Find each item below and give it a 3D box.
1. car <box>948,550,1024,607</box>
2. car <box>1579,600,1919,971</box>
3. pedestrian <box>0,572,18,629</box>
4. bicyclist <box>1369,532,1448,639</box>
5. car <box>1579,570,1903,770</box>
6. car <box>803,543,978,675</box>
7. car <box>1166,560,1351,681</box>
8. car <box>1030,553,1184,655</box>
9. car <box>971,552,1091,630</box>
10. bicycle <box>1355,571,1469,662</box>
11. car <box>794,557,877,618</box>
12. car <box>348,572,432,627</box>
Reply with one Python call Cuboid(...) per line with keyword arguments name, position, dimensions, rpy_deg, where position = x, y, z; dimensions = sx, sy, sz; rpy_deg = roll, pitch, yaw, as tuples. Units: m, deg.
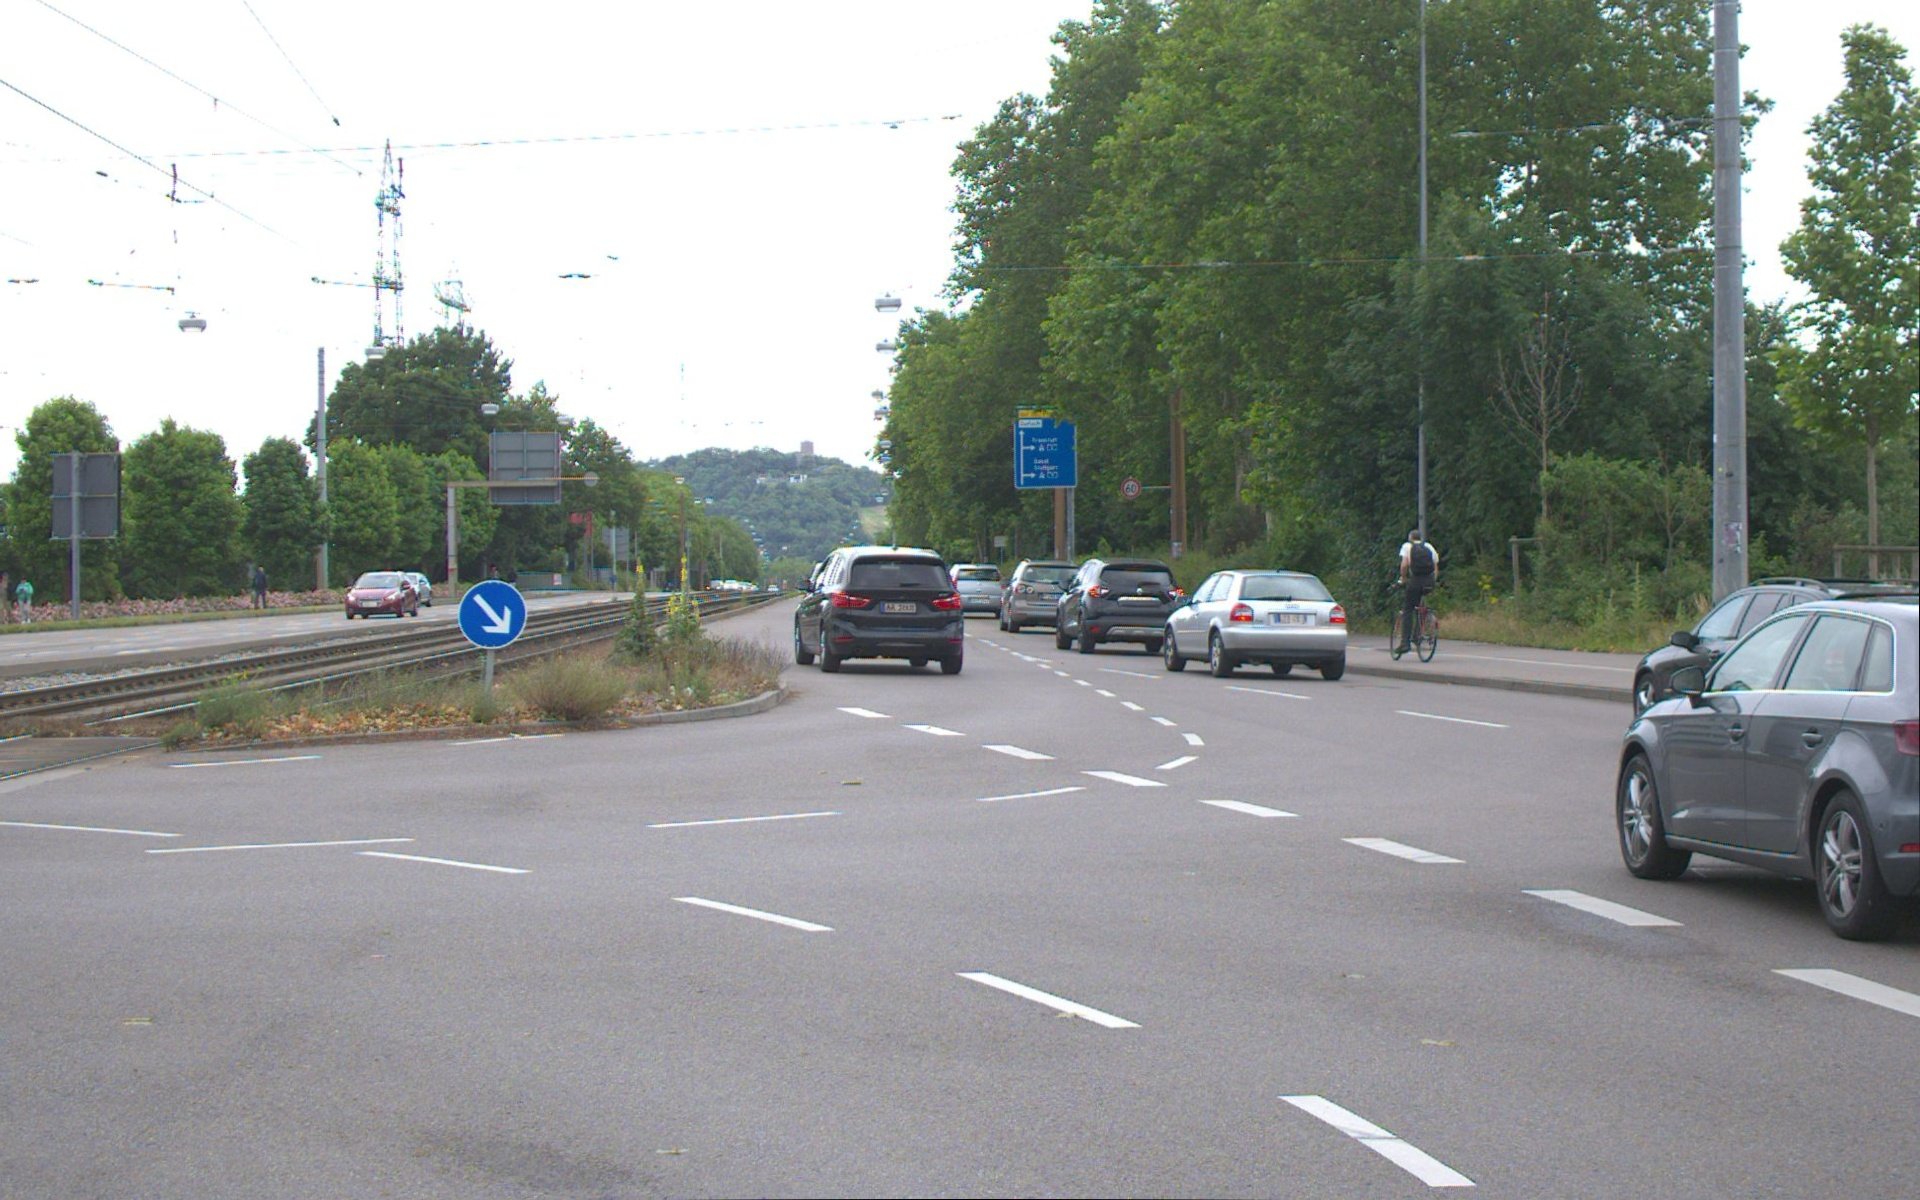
Cuboid(name="car", position=(0.679, -0.567, 92.605), dimensions=(1.815, 1.475, 3.672), rpy_deg=(1, 0, -3))
Cuboid(name="car", position=(4.267, 0.726, 15.484), dimensions=(1.737, 1.397, 4.078), rpy_deg=(0, 1, -8))
Cuboid(name="pedestrian", position=(-28.277, 0.015, 101.592), dimensions=(0.544, 1.648, 0.614), rpy_deg=(1, -1, 39))
Cuboid(name="bicyclist", position=(6.362, -0.209, 48.805), dimensions=(0.816, 1.473, 1.000), rpy_deg=(-2, 2, -11))
Cuboid(name="car", position=(6.660, 0.544, 29.763), dimensions=(1.735, 1.474, 4.319), rpy_deg=(1, 2, -1))
Cuboid(name="car", position=(-0.957, 0.100, 44.682), dimensions=(1.831, 1.631, 4.318), rpy_deg=(0, 0, -7))
Cuboid(name="car", position=(3.938, 0.239, 45.838), dimensions=(1.728, 1.504, 3.633), rpy_deg=(1, 1, -7))
Cuboid(name="car", position=(2.391, 0.062, 56.889), dimensions=(1.856, 1.556, 4.318), rpy_deg=(2, 0, -6))
Cuboid(name="car", position=(1.495, -0.188, 73.931), dimensions=(1.856, 1.556, 4.318), rpy_deg=(2, 0, -8))
Cuboid(name="bicycle", position=(6.402, 0.217, 48.866), dimensions=(0.816, 1.181, 2.523), rpy_deg=(-2, 2, -11))
Cuboid(name="car", position=(-3.114, -0.319, 85.585), dimensions=(1.746, 1.426, 3.376), rpy_deg=(1, 1, -7))
Cuboid(name="car", position=(-18.066, -0.032, 109.089), dimensions=(1.993, 1.722, 4.000), rpy_deg=(0, 0, 0))
